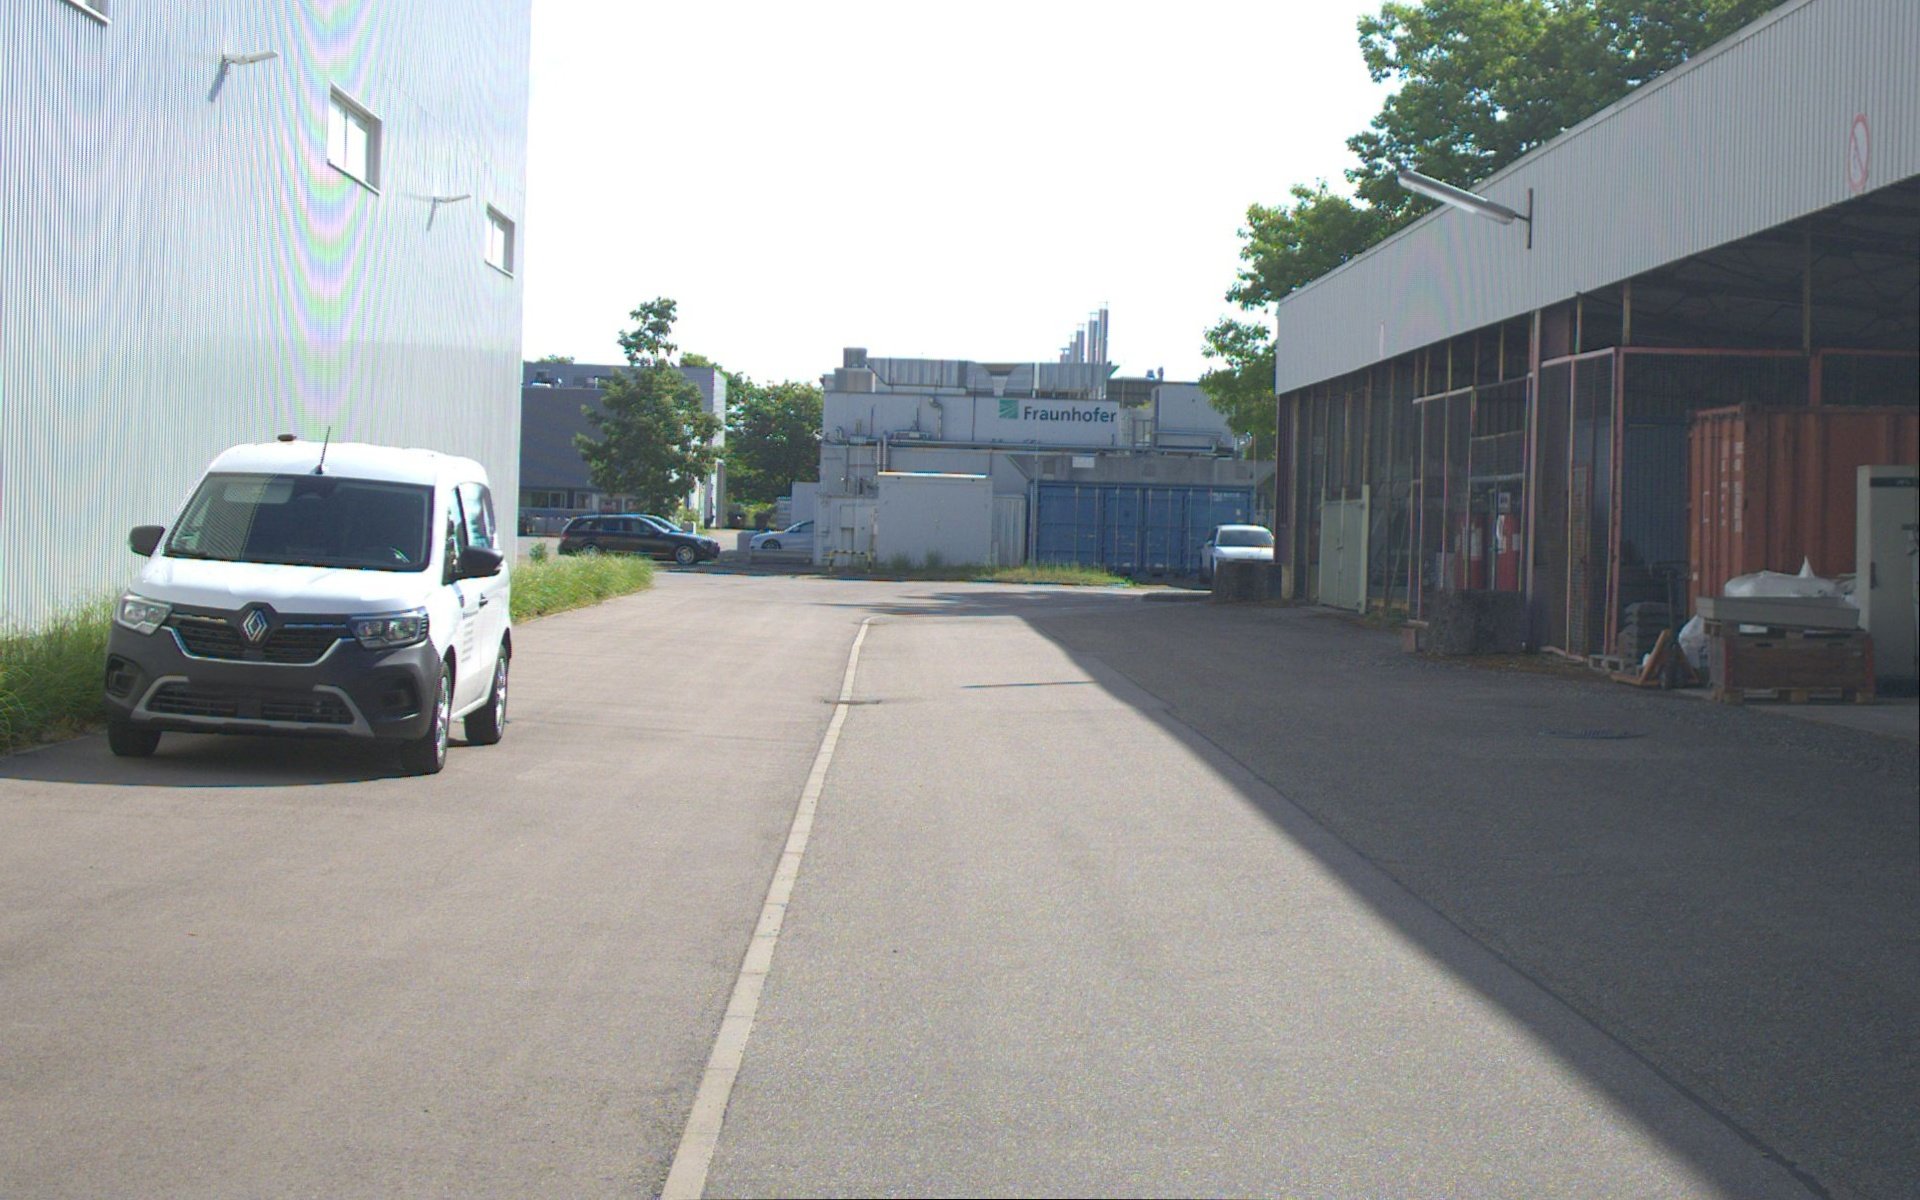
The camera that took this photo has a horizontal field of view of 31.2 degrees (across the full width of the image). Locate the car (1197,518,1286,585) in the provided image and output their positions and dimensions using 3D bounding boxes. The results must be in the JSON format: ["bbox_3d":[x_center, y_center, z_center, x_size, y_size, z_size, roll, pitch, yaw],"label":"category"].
[{"bbox_3d":[7.322,-1.293,89.736,1.979,1.597,4.378,0,3,1],"label":"car"}]

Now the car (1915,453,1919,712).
[{"bbox_3d":[10.068,-0.217,25.467,5.332,2.273,2.153,1,1,-1],"label":"car"}]

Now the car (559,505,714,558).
[{"bbox_3d":[-9.570,-2.024,102.021,4.447,1.525,1.824,0,1,-1],"label":"car"}]

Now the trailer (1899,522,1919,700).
[{"bbox_3d":[8.893,0.098,28.077,2.038,1.461,1.738,0,1,3],"label":"trailer"}]

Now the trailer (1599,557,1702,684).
[{"bbox_3d":[6.247,0.173,31.164,0.551,1.114,1.547,0,1,-3],"label":"trailer"}]

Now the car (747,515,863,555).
[{"bbox_3d":[-5.840,-2.456,129.953,4.302,1.452,1.824,0,1,-1],"label":"car"}]

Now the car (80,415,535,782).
[{"bbox_3d":[-3.670,-0.043,20.135,1.783,1.809,4.602,3,1,-1],"label":"car"}]
